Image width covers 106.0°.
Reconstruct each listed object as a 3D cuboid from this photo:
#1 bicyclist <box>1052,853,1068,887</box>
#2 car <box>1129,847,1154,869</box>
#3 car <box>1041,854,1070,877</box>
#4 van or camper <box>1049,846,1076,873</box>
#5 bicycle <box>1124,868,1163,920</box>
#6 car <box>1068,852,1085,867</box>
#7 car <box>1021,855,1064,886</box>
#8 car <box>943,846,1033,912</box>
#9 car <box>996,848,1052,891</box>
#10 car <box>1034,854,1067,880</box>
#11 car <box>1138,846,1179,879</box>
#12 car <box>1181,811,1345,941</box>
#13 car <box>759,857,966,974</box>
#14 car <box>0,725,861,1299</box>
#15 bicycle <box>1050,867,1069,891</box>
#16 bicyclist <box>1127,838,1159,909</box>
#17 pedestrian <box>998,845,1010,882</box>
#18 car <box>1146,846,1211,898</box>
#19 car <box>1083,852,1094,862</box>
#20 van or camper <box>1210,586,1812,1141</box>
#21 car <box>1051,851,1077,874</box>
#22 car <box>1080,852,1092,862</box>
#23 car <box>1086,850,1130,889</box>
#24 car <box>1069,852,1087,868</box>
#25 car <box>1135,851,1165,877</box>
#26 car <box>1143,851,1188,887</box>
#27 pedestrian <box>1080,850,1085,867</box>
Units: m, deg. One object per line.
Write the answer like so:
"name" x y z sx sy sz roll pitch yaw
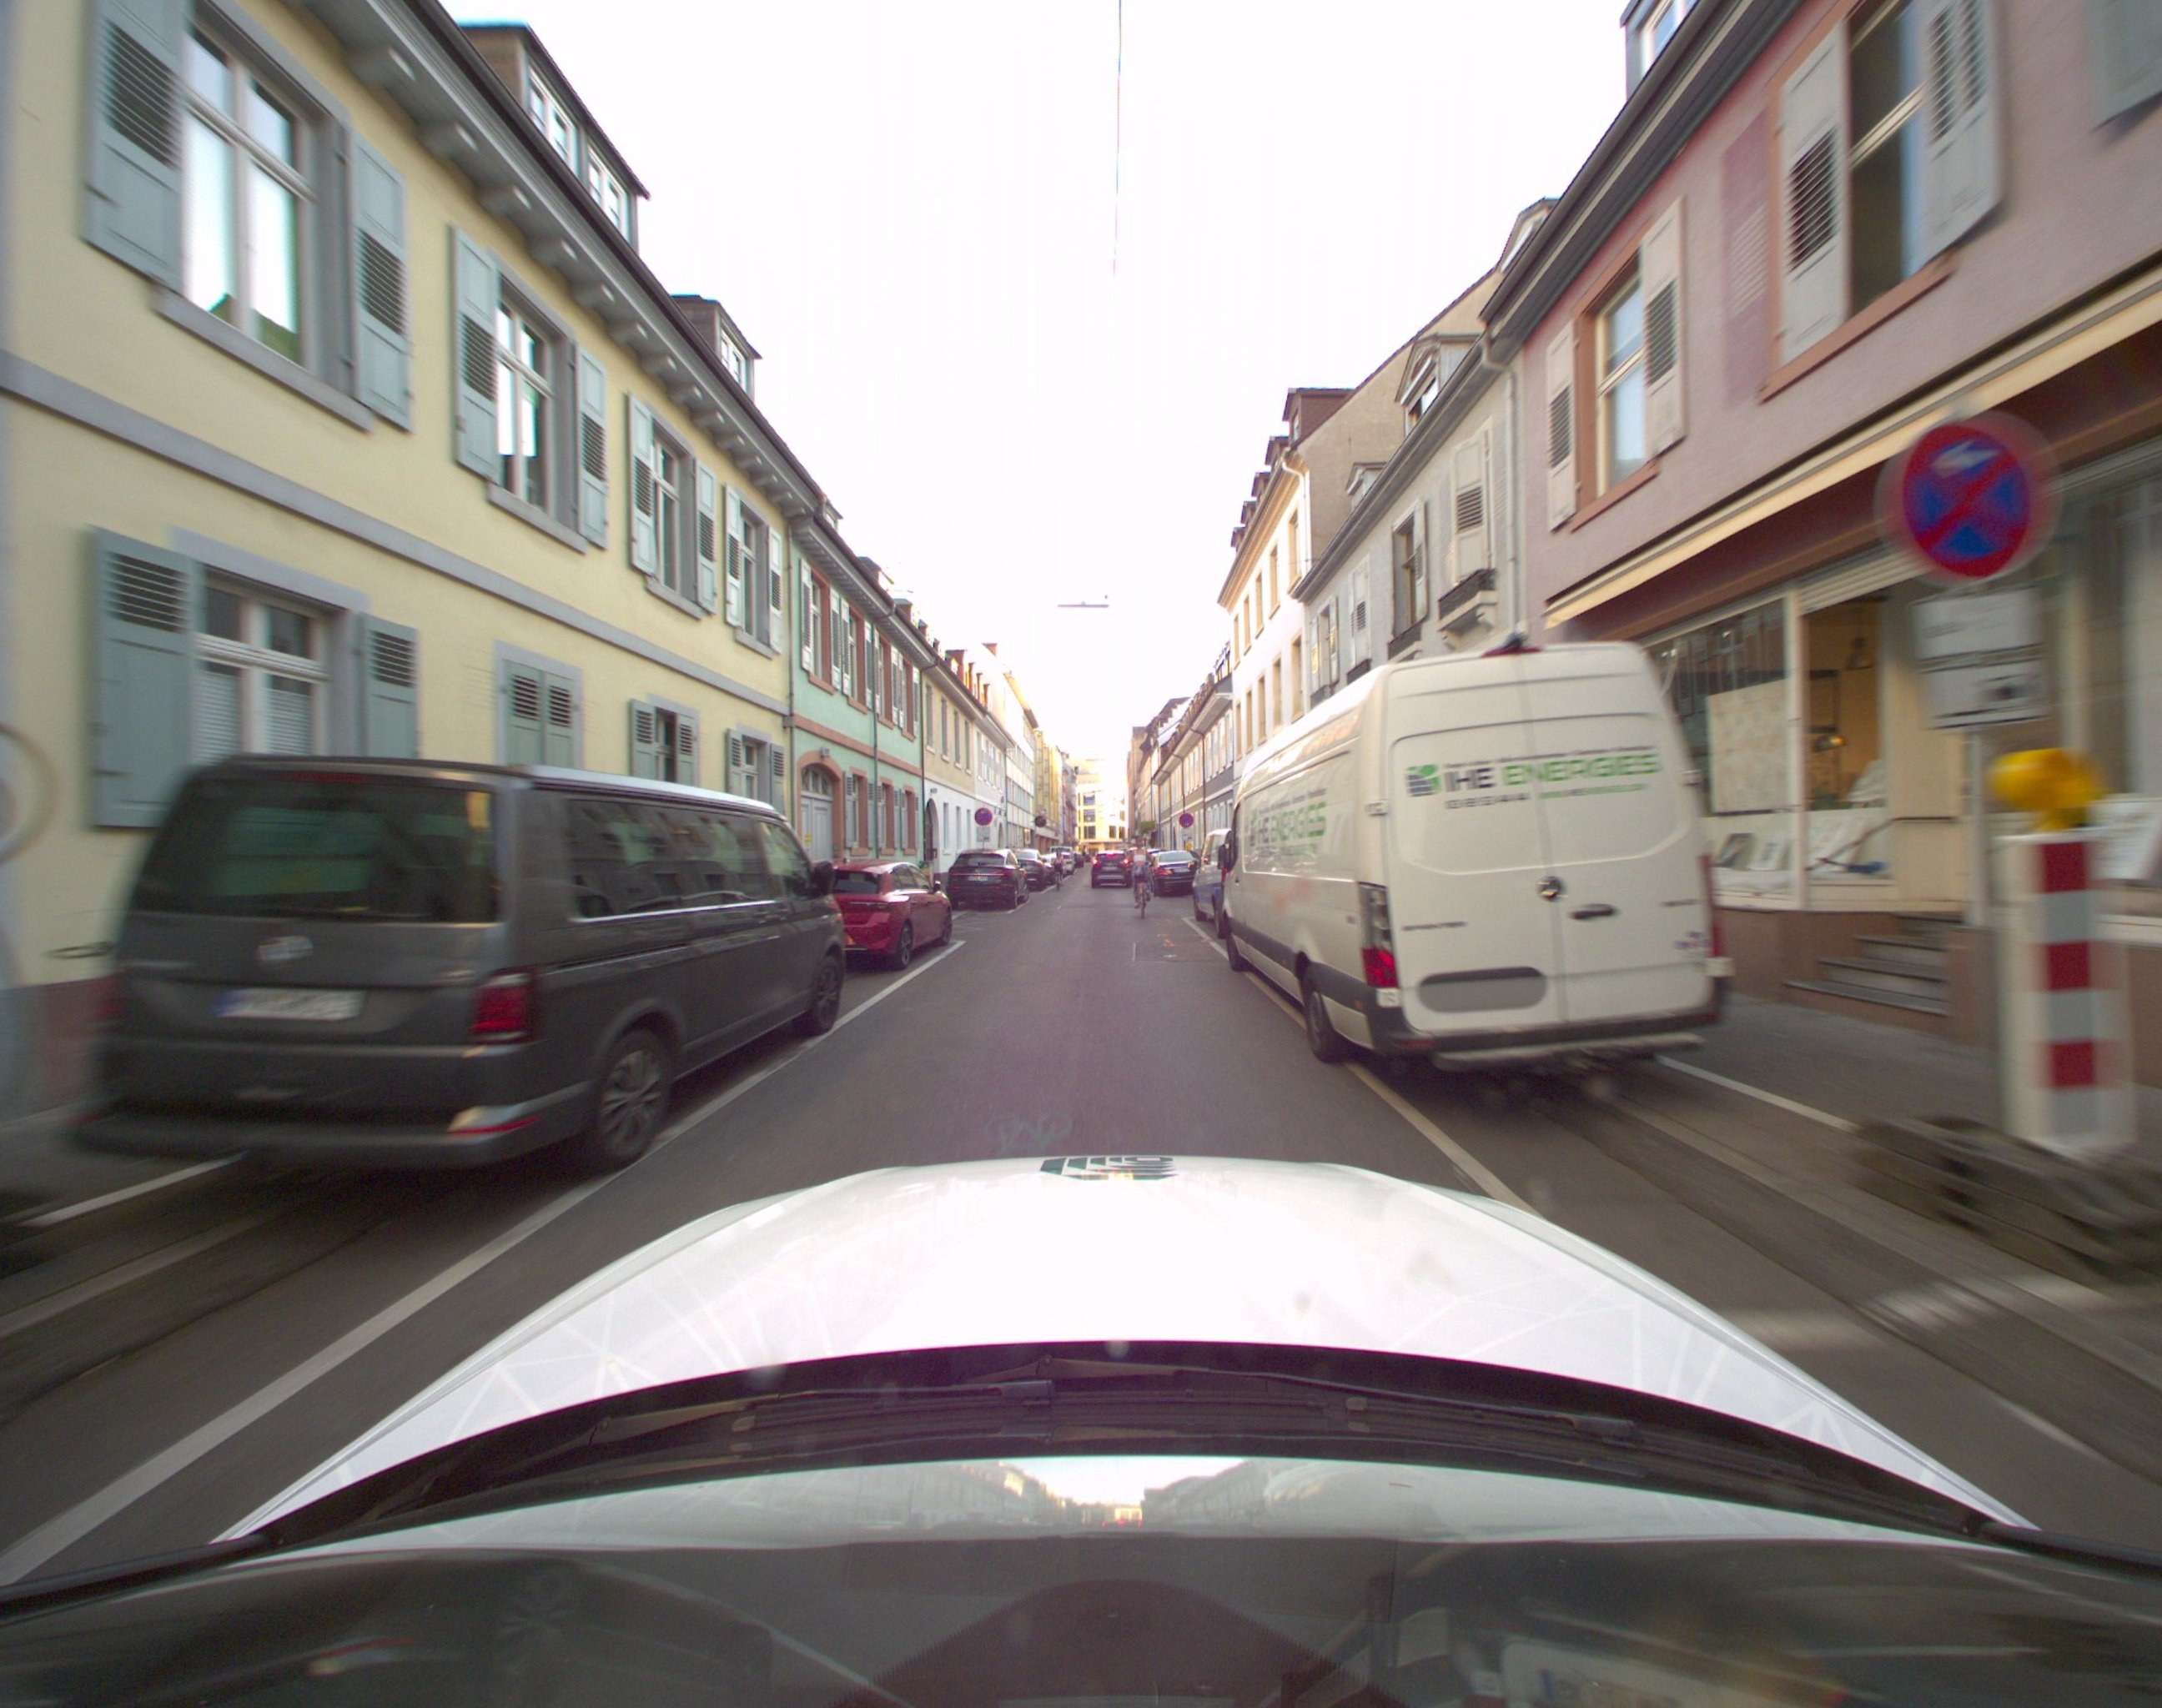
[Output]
"bicyclist" -0.866 0.656 33.876 0.603 1.369 0.621 -1 0 2
"car" 4.243 0.275 57.775 1.647 1.561 3.607 0 0 2
"car" -1.619 0.730 52.372 1.647 1.411 3.607 0 0 2
"van or camper" -1.384 0.380 63.055 1.837 2.013 4.680 0 0 2
"bicycle" 1.389 0.866 18.364 0.612 1.082 1.806 -1 0 -4
"car" -0.430 0.564 85.179 1.647 1.561 3.607 0 0 2
"car" -1.887 0.786 40.791 1.912 1.434 4.293 0 0 0
"car" -2.532 0.645 23.260 1.795 1.676 4.493 -1 0 3
"car" -2.347 0.609 34.429 1.991 1.707 4.535 0 0 0
"car" -1.728 0.733 47.280 1.647 1.411 3.904 0 0 2
"car" 4.279 0.468 45.424 1.911 1.738 4.153 0 0 1
"car" 3.177 0.348 15.426 1.934 1.894 5.319 -4 0 2
"car" -2.992 0.769 12.129 1.758 1.401 4.265 -1 0 2
"car" -3.057 0.555 5.322 1.856 2.013 4.814 -1 0 0
"bicycle" -0.888 1.025 33.845 0.611 0.932 1.888 -1 0 3
"bicyclist" 1.392 0.437 18.460 0.619 1.574 0.682 -1 0 -5
"pedestrian" -4.179 0.533 44.421 0.608 2.013 0.450 -1 0 -1
"car" 3.292 0.572 28.282 1.812 1.530 5.075 -5 0 3
"car" 1.273 0.424 132.011 1.647 1.561 3.607 0 0 2
"van or camper" 2.622 0.038 7.462 2.042 2.637 7.067 -1 0 3
"car" -1.165 0.608 57.345 1.647 1.561 3.607 0 0 2
"car" 0.801 0.427 125.246 1.647 1.561 3.607 0 0 2
"car" 1.183 0.631 35.905 1.813 1.618 4.001 0 0 1
"car" -0.305 0.543 79.868 1.647 1.561 3.607 0 0 2
"car" 4.223 0.573 50.180 1.647 1.561 3.607 0 0 2
"car" 3.614 0.613 35.332 1.670 1.486 4.002 0 0 2
"pedestrian" 0.142 0.481 83.619 0.552 1.752 0.568 -1 0 -1
